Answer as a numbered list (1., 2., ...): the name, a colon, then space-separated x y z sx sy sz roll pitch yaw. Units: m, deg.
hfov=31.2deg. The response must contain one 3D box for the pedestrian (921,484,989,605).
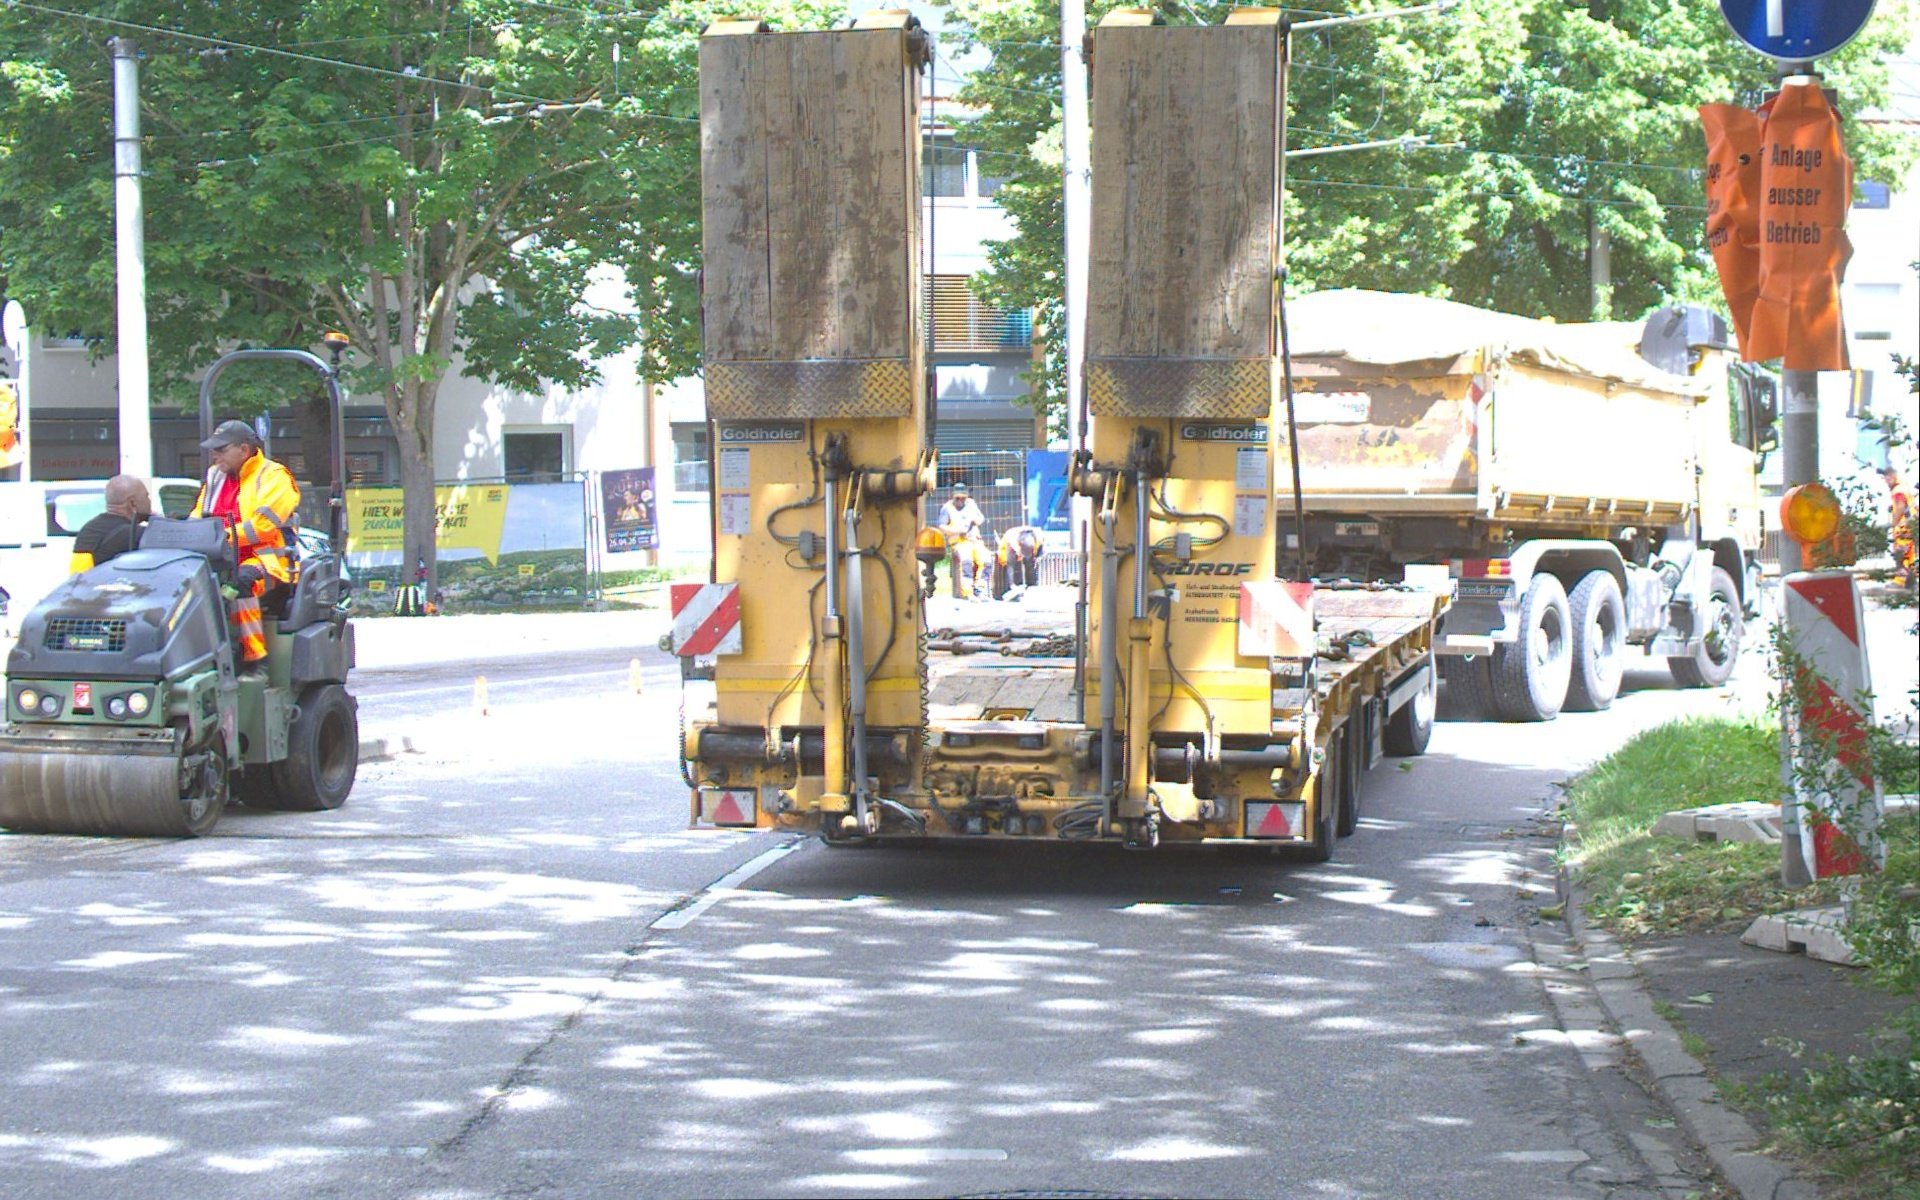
1. pedestrian: -0.069 -0.721 44.272 0.760 1.535 0.798 -1 1 -6

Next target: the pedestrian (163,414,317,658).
1. pedestrian: -3.660 -0.326 17.505 0.549 1.212 0.617 -1 2 10

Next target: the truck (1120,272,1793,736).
1. truck: 4.230 -0.804 27.483 2.922 3.156 7.669 1 2 28

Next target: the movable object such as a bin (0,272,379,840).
1. movable object such as a bin: -3.934 -0.239 16.921 1.317 2.584 2.361 0 2 12

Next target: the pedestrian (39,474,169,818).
1. pedestrian: -4.266 0.217 17.147 0.469 1.676 0.559 1 2 3

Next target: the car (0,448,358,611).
1. car: -10.312 -0.865 43.111 5.232 1.881 2.000 -2 0 -15

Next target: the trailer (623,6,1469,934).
1. trailer: 1.095 -0.711 18.694 2.824 3.511 11.048 2 2 10

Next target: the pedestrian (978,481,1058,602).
1. pedestrian: 0.747 -0.763 44.567 0.905 1.527 0.841 -1 1 -6

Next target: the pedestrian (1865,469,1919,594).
1. pedestrian: 12.687 -0.915 46.206 0.706 1.662 0.826 1 1 39
